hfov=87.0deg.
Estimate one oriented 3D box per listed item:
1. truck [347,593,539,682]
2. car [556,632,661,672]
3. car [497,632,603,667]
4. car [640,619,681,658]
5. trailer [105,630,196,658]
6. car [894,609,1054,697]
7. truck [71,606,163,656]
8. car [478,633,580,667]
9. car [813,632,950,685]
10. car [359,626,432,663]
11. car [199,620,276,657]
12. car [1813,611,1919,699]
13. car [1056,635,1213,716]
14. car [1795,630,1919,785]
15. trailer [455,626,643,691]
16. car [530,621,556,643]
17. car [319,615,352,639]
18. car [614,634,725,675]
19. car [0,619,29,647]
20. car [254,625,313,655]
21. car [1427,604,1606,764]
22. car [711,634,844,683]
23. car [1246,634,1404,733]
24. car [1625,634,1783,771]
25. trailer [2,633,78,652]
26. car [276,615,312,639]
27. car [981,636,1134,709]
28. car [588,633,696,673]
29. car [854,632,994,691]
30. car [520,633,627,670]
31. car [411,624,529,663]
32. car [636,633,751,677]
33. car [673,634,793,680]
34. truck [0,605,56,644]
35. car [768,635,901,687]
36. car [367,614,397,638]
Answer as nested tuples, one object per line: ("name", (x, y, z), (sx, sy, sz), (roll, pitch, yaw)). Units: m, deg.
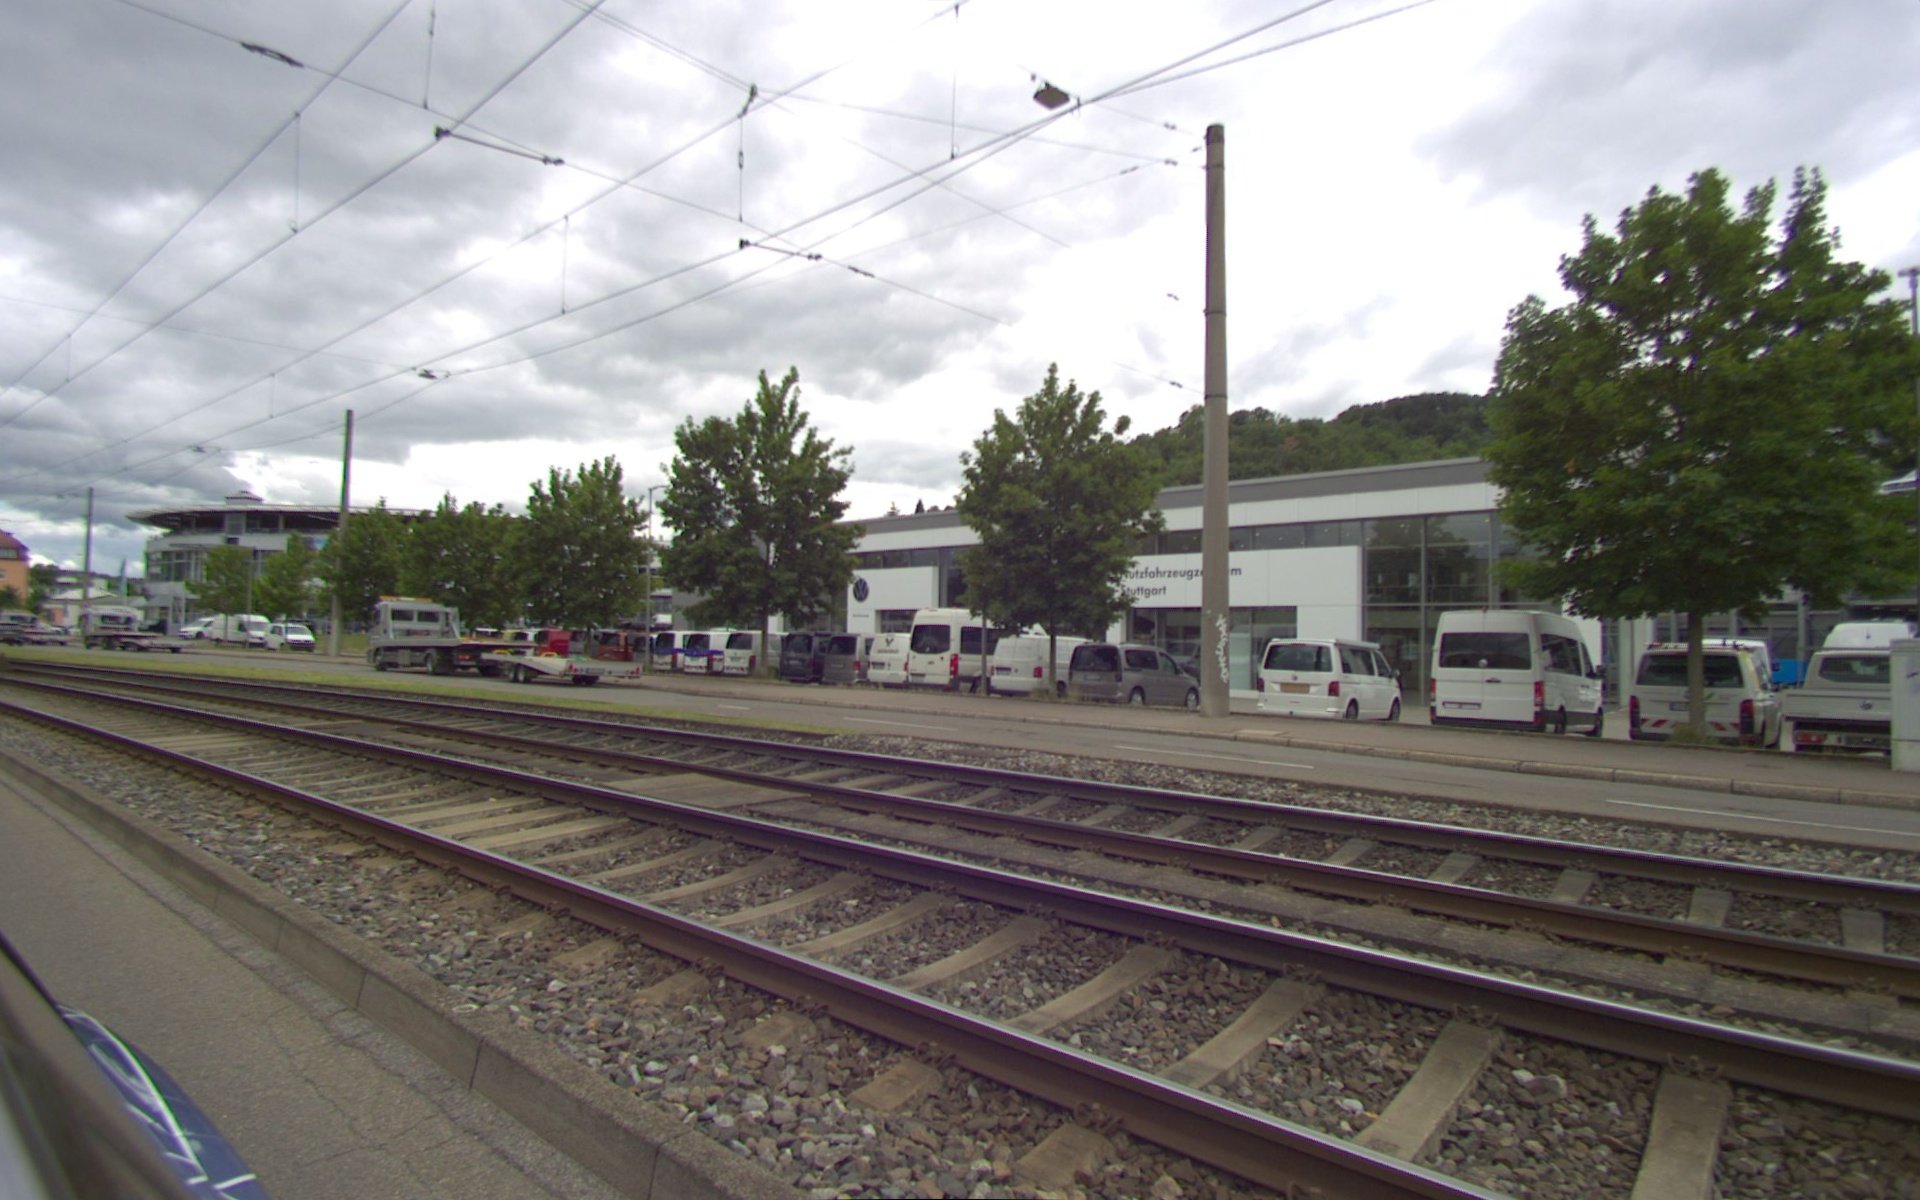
("truck", (-18.310, 1.331, 35.478), (9.216, 2.763, 2.727), (-1, -5, 42))
("car", (-15.675, 2.308, 45.231), (3.940, 1.677, 2.049), (3, -3, -44))
("car", (-19.919, 2.408, 49.307), (4.294, 1.630, 2.121), (3, -3, -44))
("car", (-21.679, 2.788, 73.049), (1.965, 2.726, 4.876), (2, -2, -26))
("trailer", (-49.105, 2.658, 61.318), (7.216, 1.507, 2.731), (-2, -5, 39))
("car", (0.462, 1.510, 29.233), (4.444, 2.329, 2.126), (3, -3, -45))
("truck", (-55.236, 2.070, 66.237), (8.444, 3.004, 2.835), (-2, -5, 39))
("car", (-21.934, 2.517, 51.560), (4.286, 1.630, 2.156), (3, -3, -44))
("car", (-2.556, 1.915, 33.702), (4.315, 1.630, 2.005), (3, -3, -45))
("car", (-32.414, 2.515, 58.090), (4.856, 2.029, 1.974), (-1, -3, 39))
("car", (-52.225, 2.762, 73.120), (5.832, 2.580, 1.982), (-1, -2, 27))
("car", (23.359, 1.381, 25.753), (4.786, 2.029, 2.002), (3, -3, -44))
("car", (4.689, 1.933, 26.854), (4.315, 1.962, 2.005), (3, -3, -45))
("car", (14.715, 1.604, 16.189), (2.003, 2.189, 4.320), (-1, -3, 40))
("trailer", (-12.332, 1.695, 30.060), (6.946, 1.711, 2.357), (-1, -5, 42))
("car", (-39.536, 3.048, 95.944), (1.965, 2.029, 4.013), (2, -2, -26))
("car", (-54.525, 2.389, 88.421), (1.965, 2.029, 4.013), (2, -3, -26))
("car", (-12.054, 2.239, 42.089), (3.940, 1.630, 2.001), (3, -3, -44))
("car", (-63.233, 2.104, 66.667), (4.528, 1.752, 1.974), (0, -4, 38))
("car", (-46.700, 2.740, 69.833), (4.800, 2.029, 1.974), (-1, -3, 38))
("car", (10.998, 1.535, 19.829), (2.114, 2.719, 4.914), (-2, -3, 40))
("car", (-6.525, 2.078, 36.490), (4.315, 1.630, 2.005), (3, -3, -45))
("car", (8.361, 1.796, 22.990), (2.003, 2.026, 4.320), (-1, -3, 40))
("car", (13.703, 1.733, 18.539), (2.003, 2.189, 4.320), (-1, -3, 40))
("trailer", (-70.935, 3.286, 78.029), (6.994, 1.287, 3.021), (-1, -5, 37))
("car", (-57.164, 2.331, 86.927), (1.965, 2.029, 4.013), (2, -3, -26))
("car", (2.797, 1.956, 28.334), (4.315, 1.859, 2.005), (3, -3, -45))
("car", (-13.611, 2.243, 43.451), (3.940, 1.630, 2.001), (3, -3, -44))
("car", (-1.058, 1.879, 31.736), (2.030, 1.701, 4.320), (-2, -3, 41))
("car", (-17.851, 2.372, 46.851), (4.129, 1.630, 2.064), (3, -3, -44))
("car", (-26.511, 2.381, 54.813), (5.616, 2.023, 2.150), (2, -3, -28))
("car", (-10.533, 2.146, 40.165), (3.940, 1.630, 2.001), (3, -3, -44))
("car", (-8.489, 2.102, 38.086), (3.940, 1.630, 2.001), (3, -3, -44))
("truck", (-77.343, 2.045, 82.823), (8.944, 2.944, 3.079), (-1, -5, 37))
("car", (-4.329, 2.090, 35.428), (4.315, 1.699, 2.005), (3, -3, -45))
("car", (-51.131, 2.334, 89.575), (1.965, 2.029, 4.013), (2, -3, -26))
